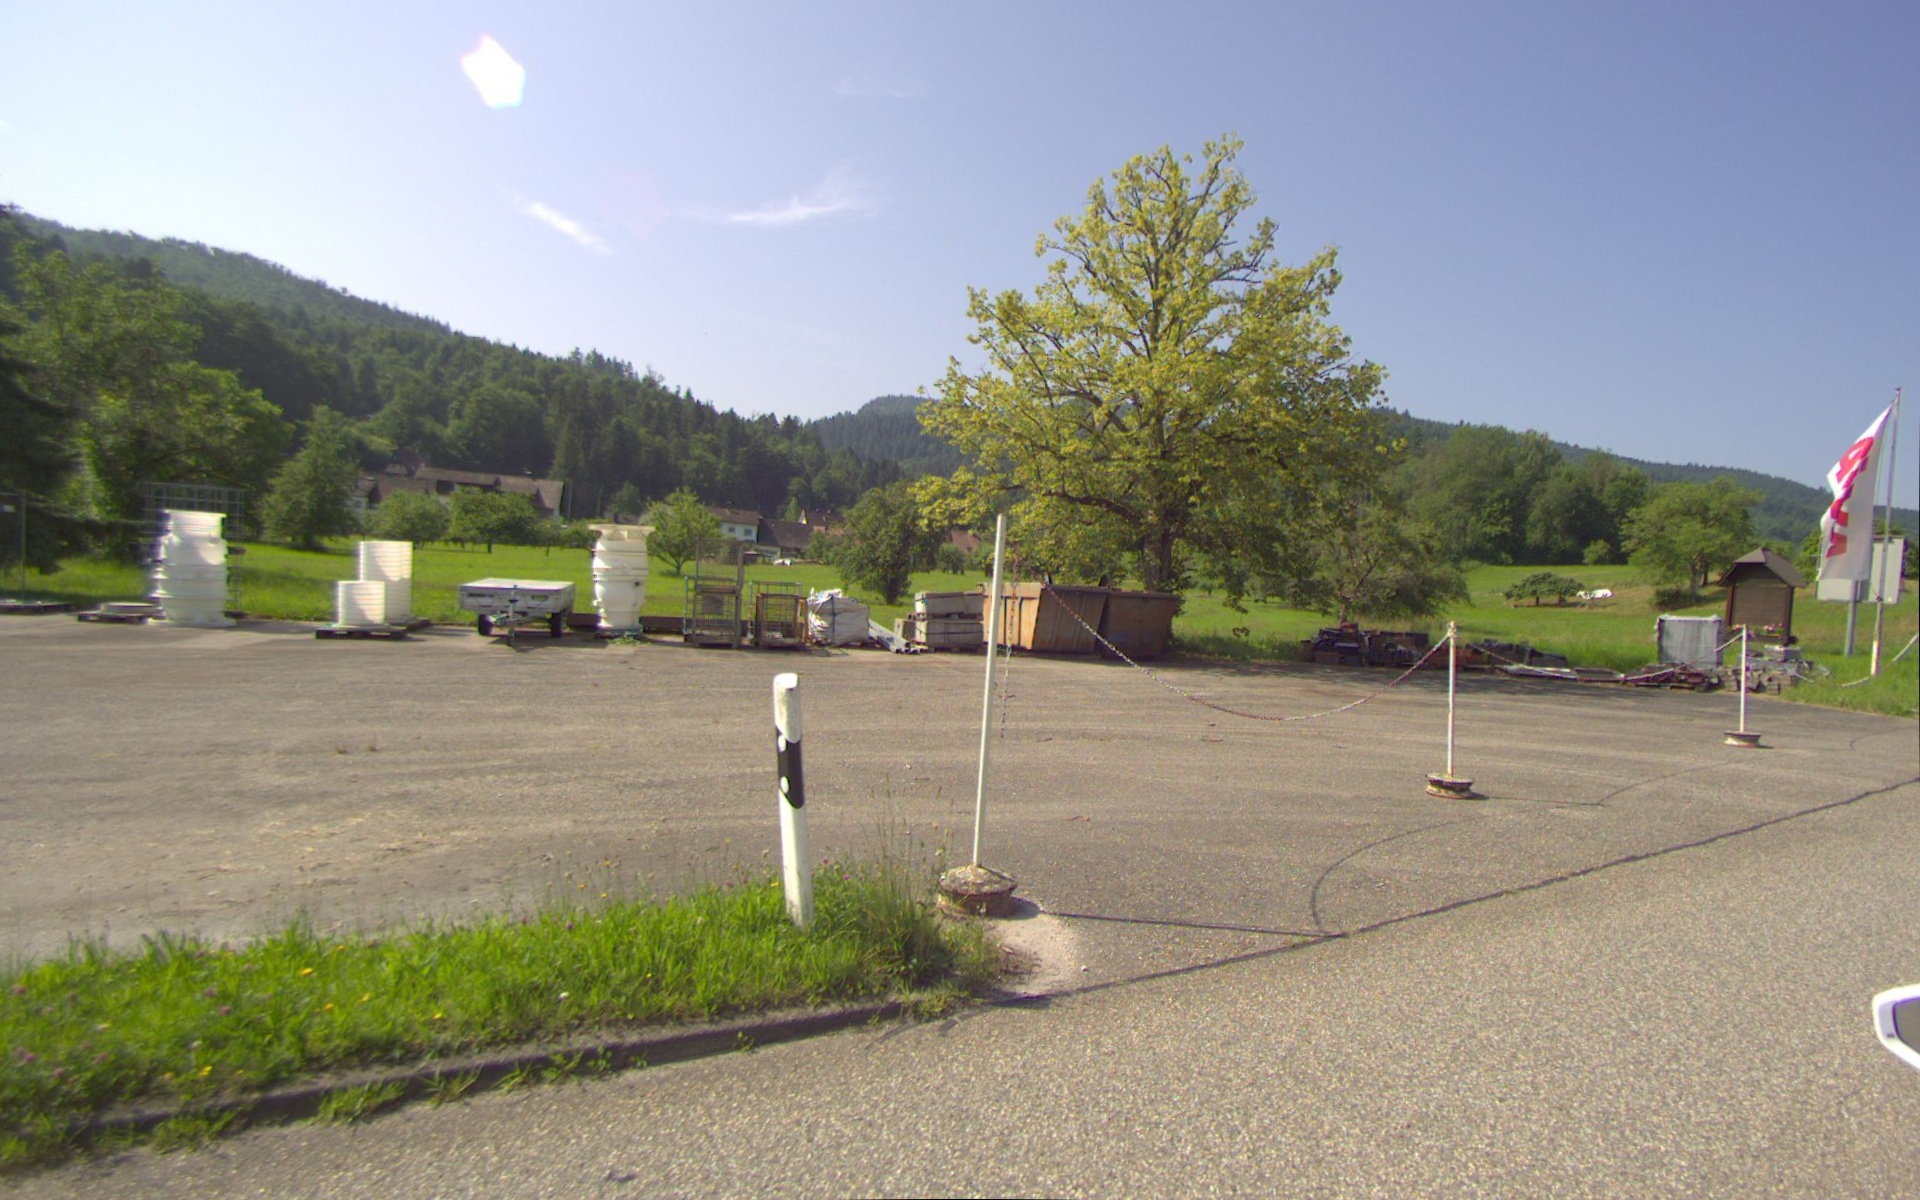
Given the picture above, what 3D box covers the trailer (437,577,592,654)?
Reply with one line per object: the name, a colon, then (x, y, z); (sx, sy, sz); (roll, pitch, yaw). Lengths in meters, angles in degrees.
trailer: (-7.698, 0.208, 17.722); (1.837, 0.952, 3.932); (4, 2, -15)
